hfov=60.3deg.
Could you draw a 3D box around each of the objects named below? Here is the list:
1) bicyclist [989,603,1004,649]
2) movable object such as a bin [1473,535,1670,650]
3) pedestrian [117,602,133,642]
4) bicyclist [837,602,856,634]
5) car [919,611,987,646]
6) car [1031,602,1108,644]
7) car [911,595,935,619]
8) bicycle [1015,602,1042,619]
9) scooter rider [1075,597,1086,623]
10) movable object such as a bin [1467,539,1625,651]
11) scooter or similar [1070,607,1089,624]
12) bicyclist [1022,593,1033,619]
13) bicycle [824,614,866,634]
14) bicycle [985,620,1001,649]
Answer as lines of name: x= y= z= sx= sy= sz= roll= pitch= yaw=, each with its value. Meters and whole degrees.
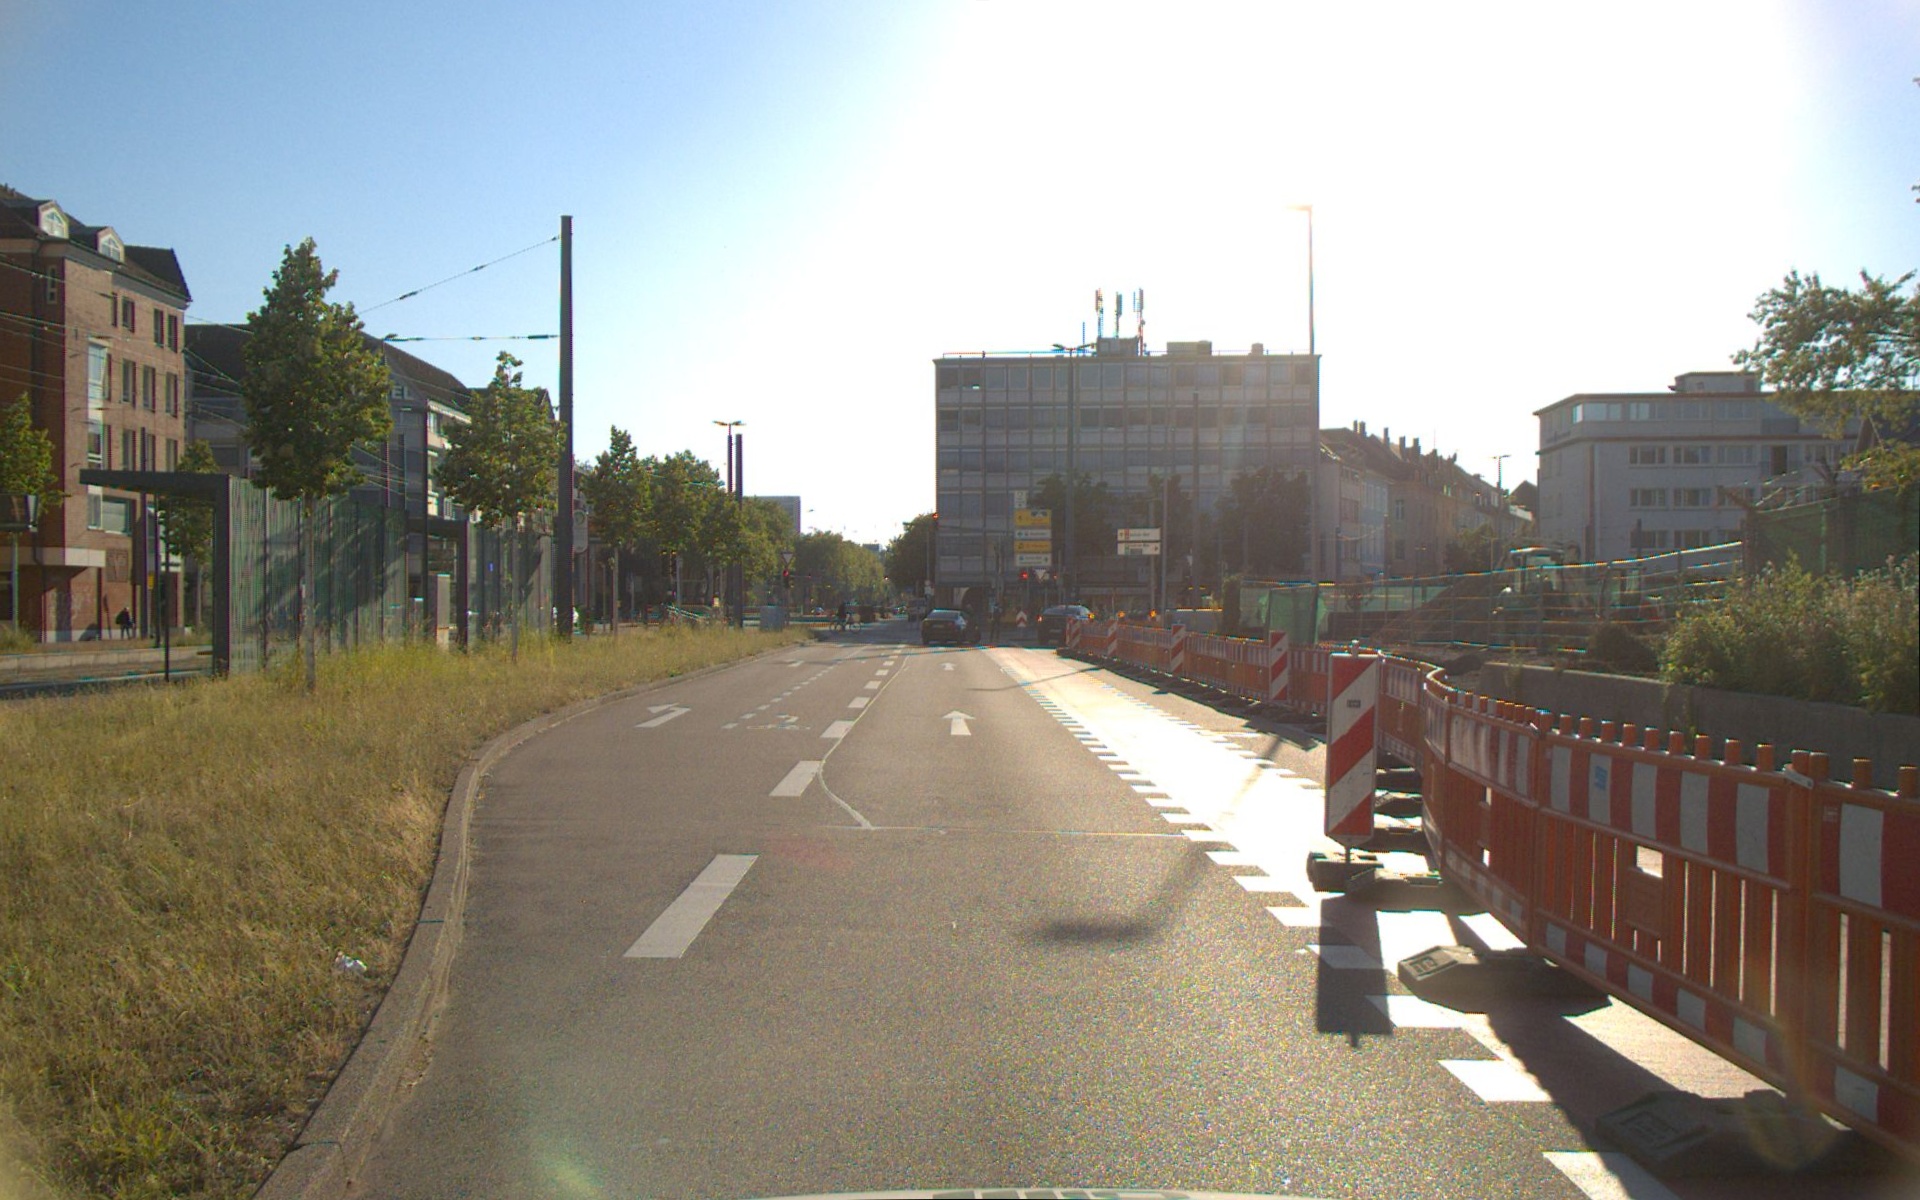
bicyclist: x=1.663 y=1.165 z=75.799 sx=0.630 sy=2.048 sz=1.067 roll=1 pitch=1 yaw=-1
movable object such as a bin: x=20.247 y=-0.220 z=54.717 sx=5.939 sy=3.620 sz=2.860 roll=0 pitch=0 yaw=24
pedestrian: x=-39.077 y=1.015 z=77.382 sx=0.475 sy=1.854 sz=0.548 roll=0 pitch=-1 yaw=-4
bicyclist: x=-6.049 y=0.964 z=88.335 sx=0.939 sy=1.690 sz=0.691 roll=0 pitch=-1 yaw=2
car: x=-0.258 y=1.172 z=69.389 sx=1.707 sy=1.451 sz=4.002 roll=0 pitch=0 yaw=18
car: x=4.817 y=0.989 z=72.403 sx=1.955 sy=1.723 sz=3.996 roll=2 pitch=1 yaw=26
car: x=-3.893 y=0.741 z=173.025 sx=2.436 sy=2.434 sz=5.932 roll=-2 pitch=-1 yaw=-2
bicycle: x=4.605 y=0.713 z=111.577 sx=1.744 sy=1.091 sz=0.533 roll=-1 pitch=-1 yaw=-11
scooter rider: x=8.088 y=0.701 z=111.060 sx=0.651 sy=1.742 sz=0.525 roll=0 pitch=-1 yaw=-11
movable object such as a bin: x=15.140 y=-0.113 z=43.062 sx=2.230 sy=2.751 sz=4.940 roll=0 pitch=0 yaw=-2
scooter or similar: x=8.045 y=1.030 z=111.049 sx=1.151 sy=1.091 sz=0.528 roll=-1 pitch=-1 yaw=-11
bicyclist: x=4.552 y=0.380 z=111.568 sx=0.651 sy=1.742 sz=0.537 roll=0 pitch=-1 yaw=-11
bicycle: x=-6.124 y=1.285 z=88.334 sx=2.180 sy=1.044 sz=0.682 roll=0 pitch=-1 yaw=2
bicycle: x=1.520 y=1.570 z=75.629 sx=0.631 sy=1.244 sz=2.048 roll=2 pitch=1 yaw=-1
